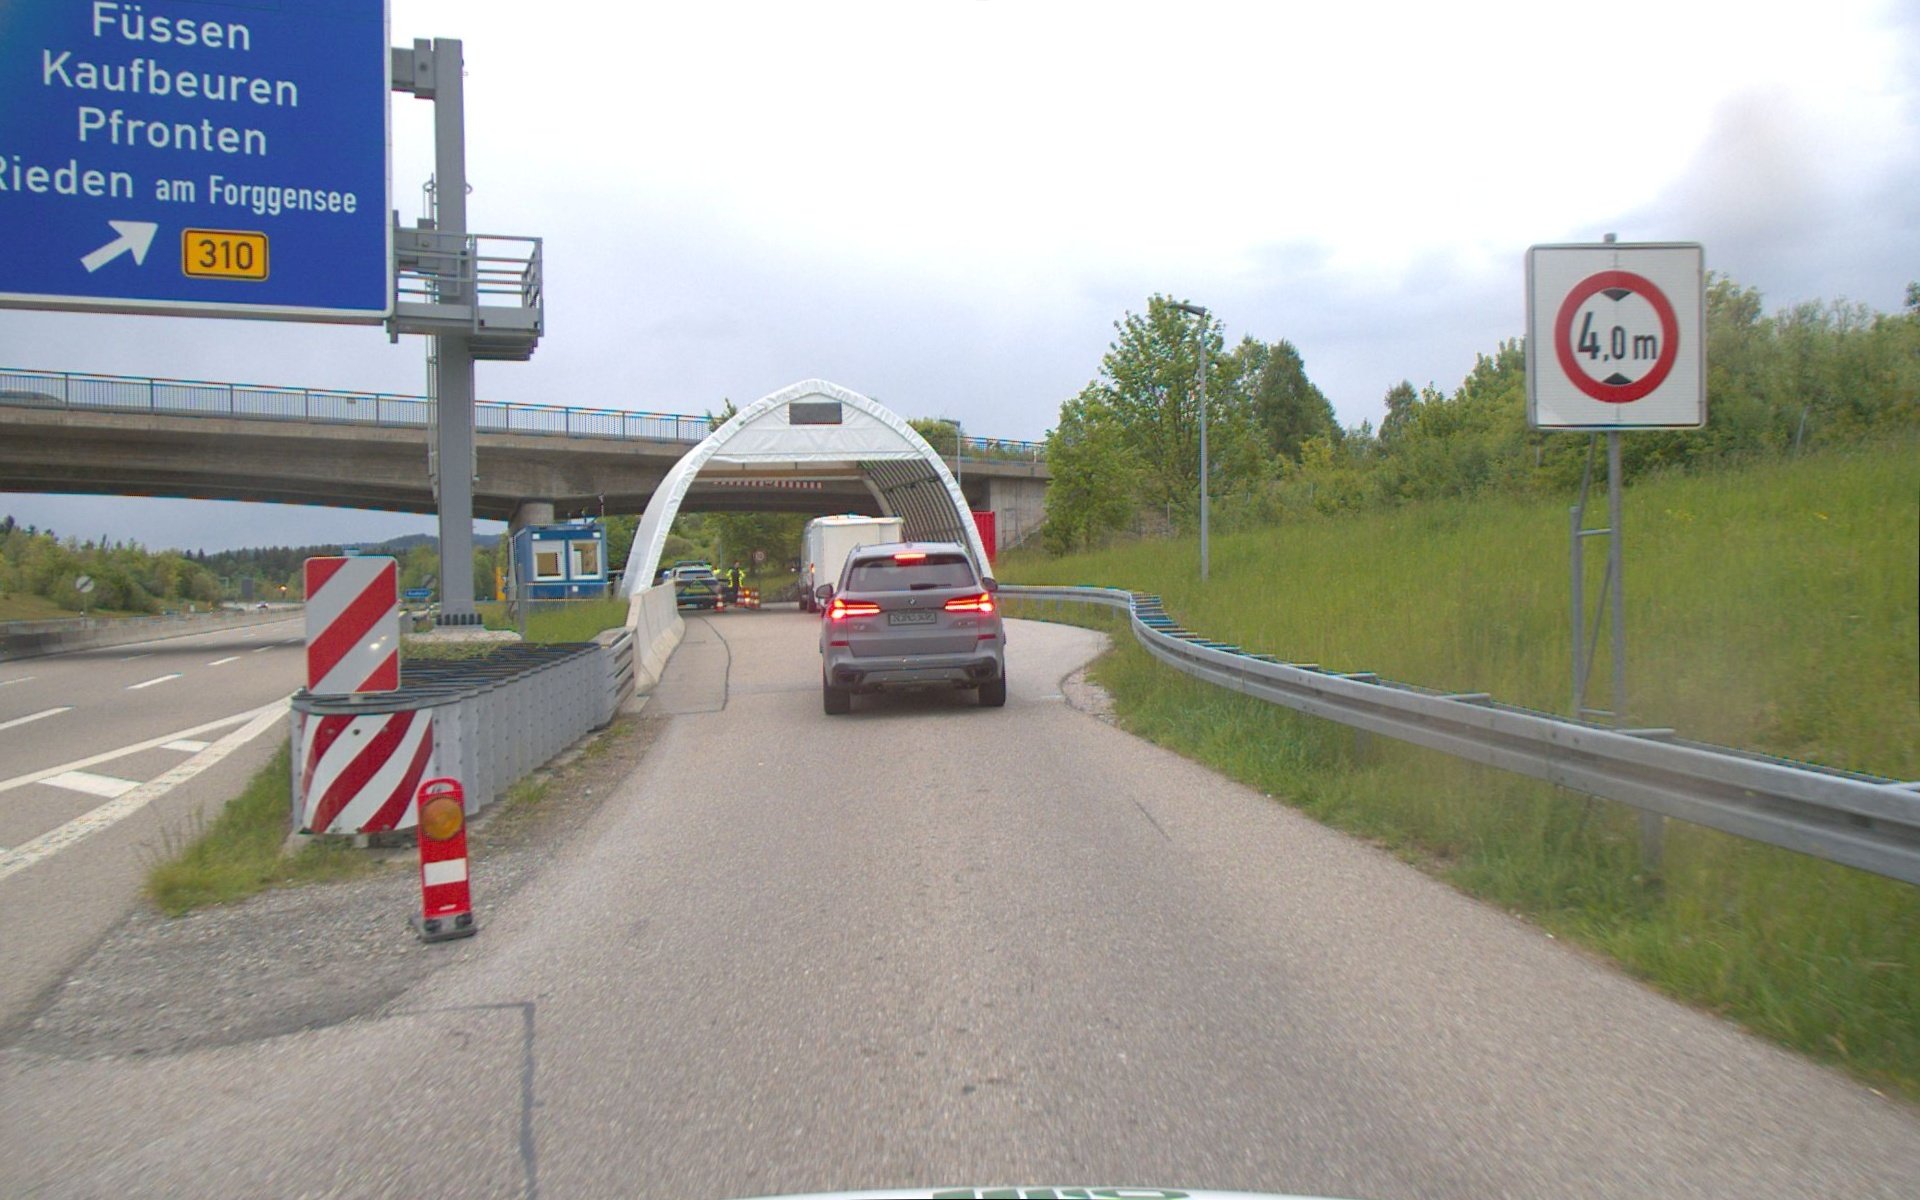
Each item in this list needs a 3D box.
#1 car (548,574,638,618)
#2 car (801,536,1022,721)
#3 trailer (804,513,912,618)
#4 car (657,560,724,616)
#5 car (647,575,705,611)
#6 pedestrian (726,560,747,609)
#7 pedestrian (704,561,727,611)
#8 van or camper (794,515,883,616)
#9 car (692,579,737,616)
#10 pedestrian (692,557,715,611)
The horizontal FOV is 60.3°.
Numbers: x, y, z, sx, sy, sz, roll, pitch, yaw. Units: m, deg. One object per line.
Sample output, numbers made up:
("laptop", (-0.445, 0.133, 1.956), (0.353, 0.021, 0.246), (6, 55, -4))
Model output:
("car", (-18.001, -0.208, 81.221), (3.905, 1.886, 1.710), (-3, 1, 1))
("car", (-0.411, 0.259, 18.525), (1.951, 1.749, 4.003), (-3, 1, 5))
("trailer", (-2.803, -0.844, 43.856), (2.236, 2.473, 6.805), (-3, 0, -8))
("car", (-9.636, -0.429, 59.007), (1.960, 1.802, 3.751), (-3, 1, -14))
("car", (-17.232, -0.415, 100.163), (1.976, 2.048, 3.954), (-4, 1, -33))
("pedestrian", (-8.502, -0.587, 62.898), (0.637, 1.806, 0.603), (-3, 1, -16))
("pedestrian", (-9.095, -0.513, 61.519), (0.708, 1.806, 0.687), (-3, 1, -14))
("van or camper", (-3.770, -0.980, 50.178), (2.117, 2.811, 5.859), (-3, 0, -9))
("car", (-13.595, -0.114, 91.321), (1.678, 1.886, 3.978), (-4, 1, -19))
("pedestrian", (-9.696, -0.607, 62.562), (0.708, 1.979, 0.687), (-3, 1, -14))
